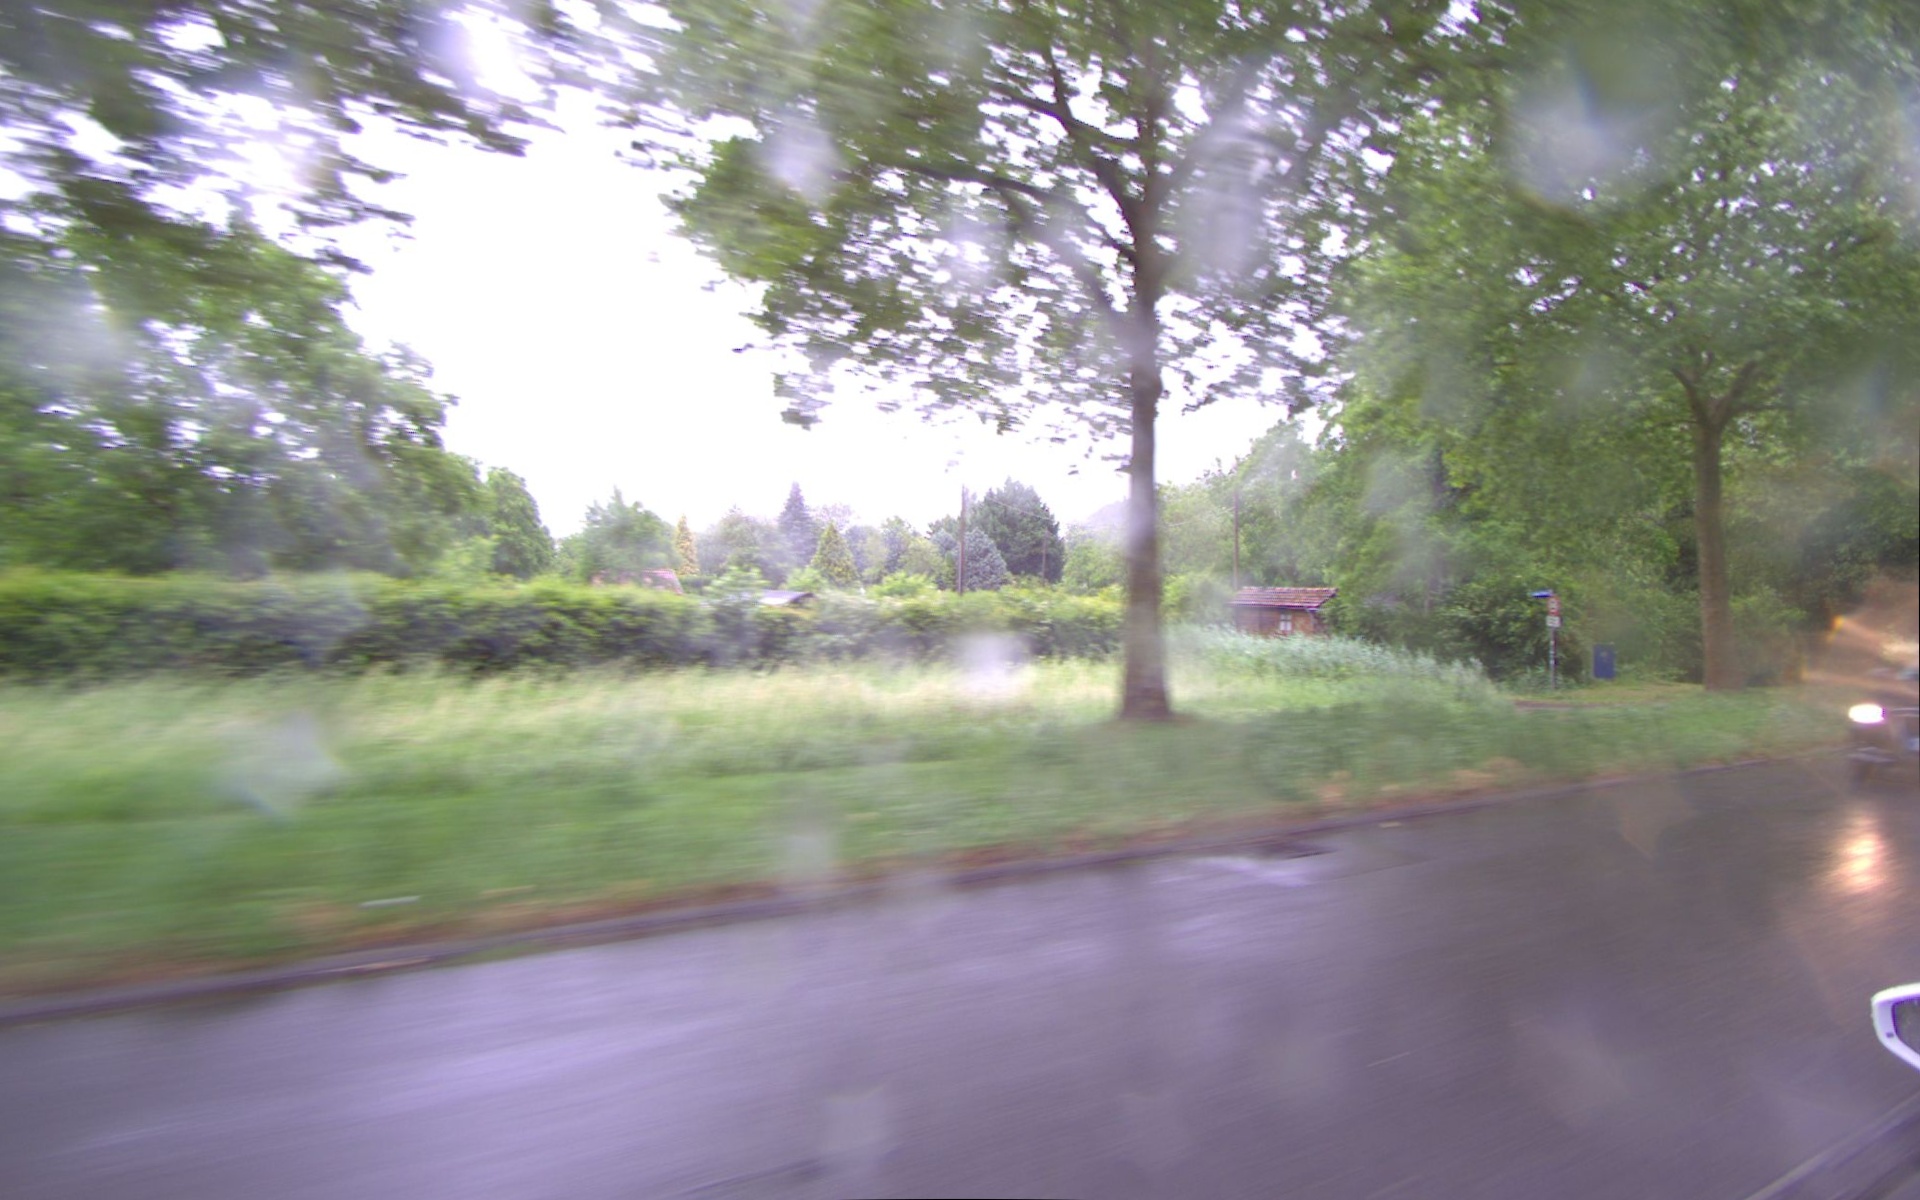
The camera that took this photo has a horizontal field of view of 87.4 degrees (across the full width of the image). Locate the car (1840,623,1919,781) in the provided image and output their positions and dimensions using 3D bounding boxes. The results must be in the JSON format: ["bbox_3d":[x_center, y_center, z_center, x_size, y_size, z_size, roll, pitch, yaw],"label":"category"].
[{"bbox_3d":[10.888,1.025,10.246,4.179,1.443,1.721,1,3,-33],"label":"car"}]

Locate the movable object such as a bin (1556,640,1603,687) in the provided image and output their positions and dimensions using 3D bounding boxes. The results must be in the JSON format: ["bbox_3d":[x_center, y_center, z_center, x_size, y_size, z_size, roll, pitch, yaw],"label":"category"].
[{"bbox_3d":[20.261,2.058,32.855,0.956,1.441,0.957,1,1,-33],"label":"movable object such as a bin"}]
